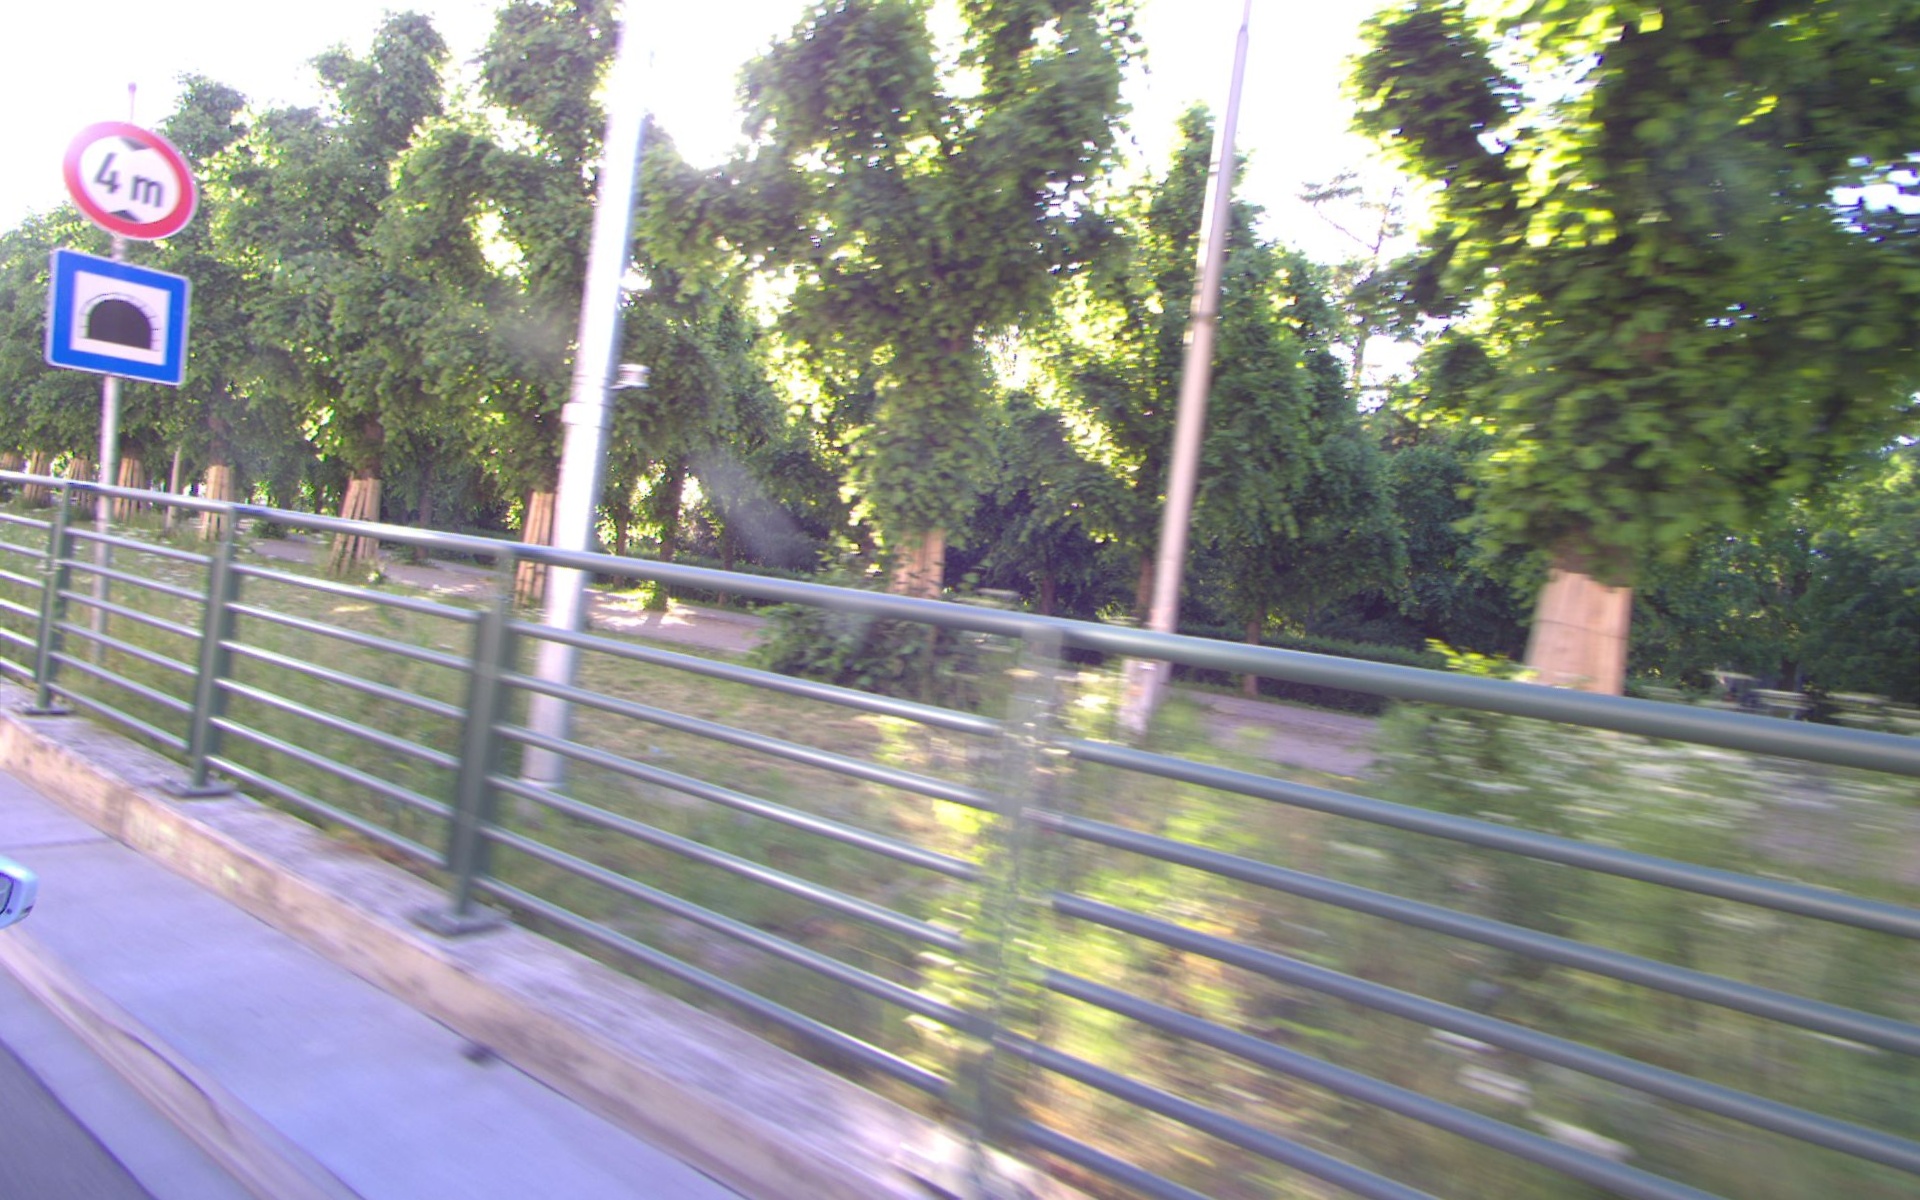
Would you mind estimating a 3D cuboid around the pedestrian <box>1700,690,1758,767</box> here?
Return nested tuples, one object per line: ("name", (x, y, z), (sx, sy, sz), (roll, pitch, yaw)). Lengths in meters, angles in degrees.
("pedestrian", (19.913, 3.299, 26.061), (0.860, 1.825, 0.865), (8, 1, 29))
